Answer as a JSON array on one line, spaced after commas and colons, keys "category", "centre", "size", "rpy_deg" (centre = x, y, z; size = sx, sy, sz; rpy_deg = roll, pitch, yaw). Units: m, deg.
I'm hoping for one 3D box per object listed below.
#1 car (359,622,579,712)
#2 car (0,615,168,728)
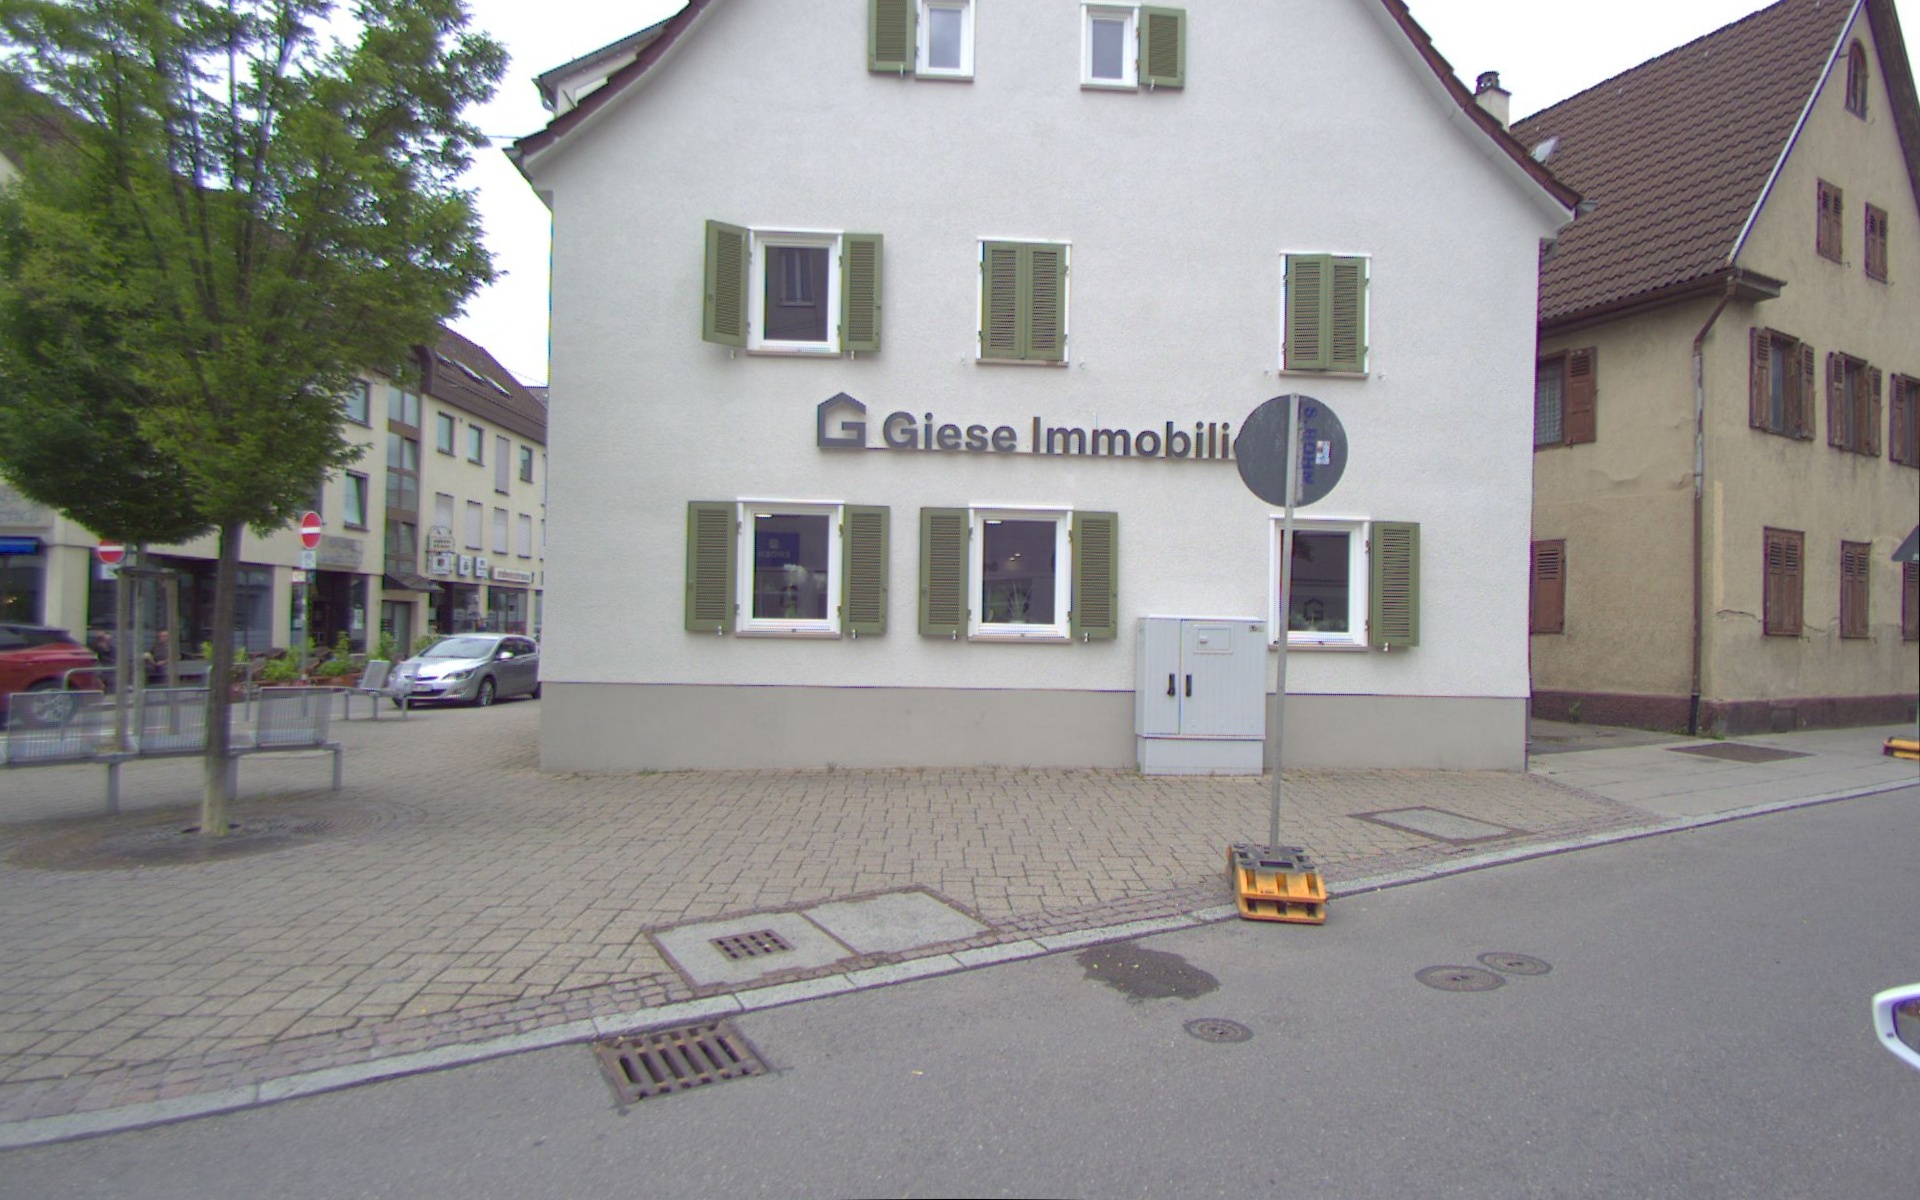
[{"category": "car", "centre": [-10.102, 1.309, 21.209], "size": [1.981, 1.578, 4.920], "rpy_deg": [1, 0, 3]}, {"category": "car", "centre": [-14.783, 1.032, 14.519], "size": [1.982, 1.578, 4.918], "rpy_deg": [1, 0, 20]}]
